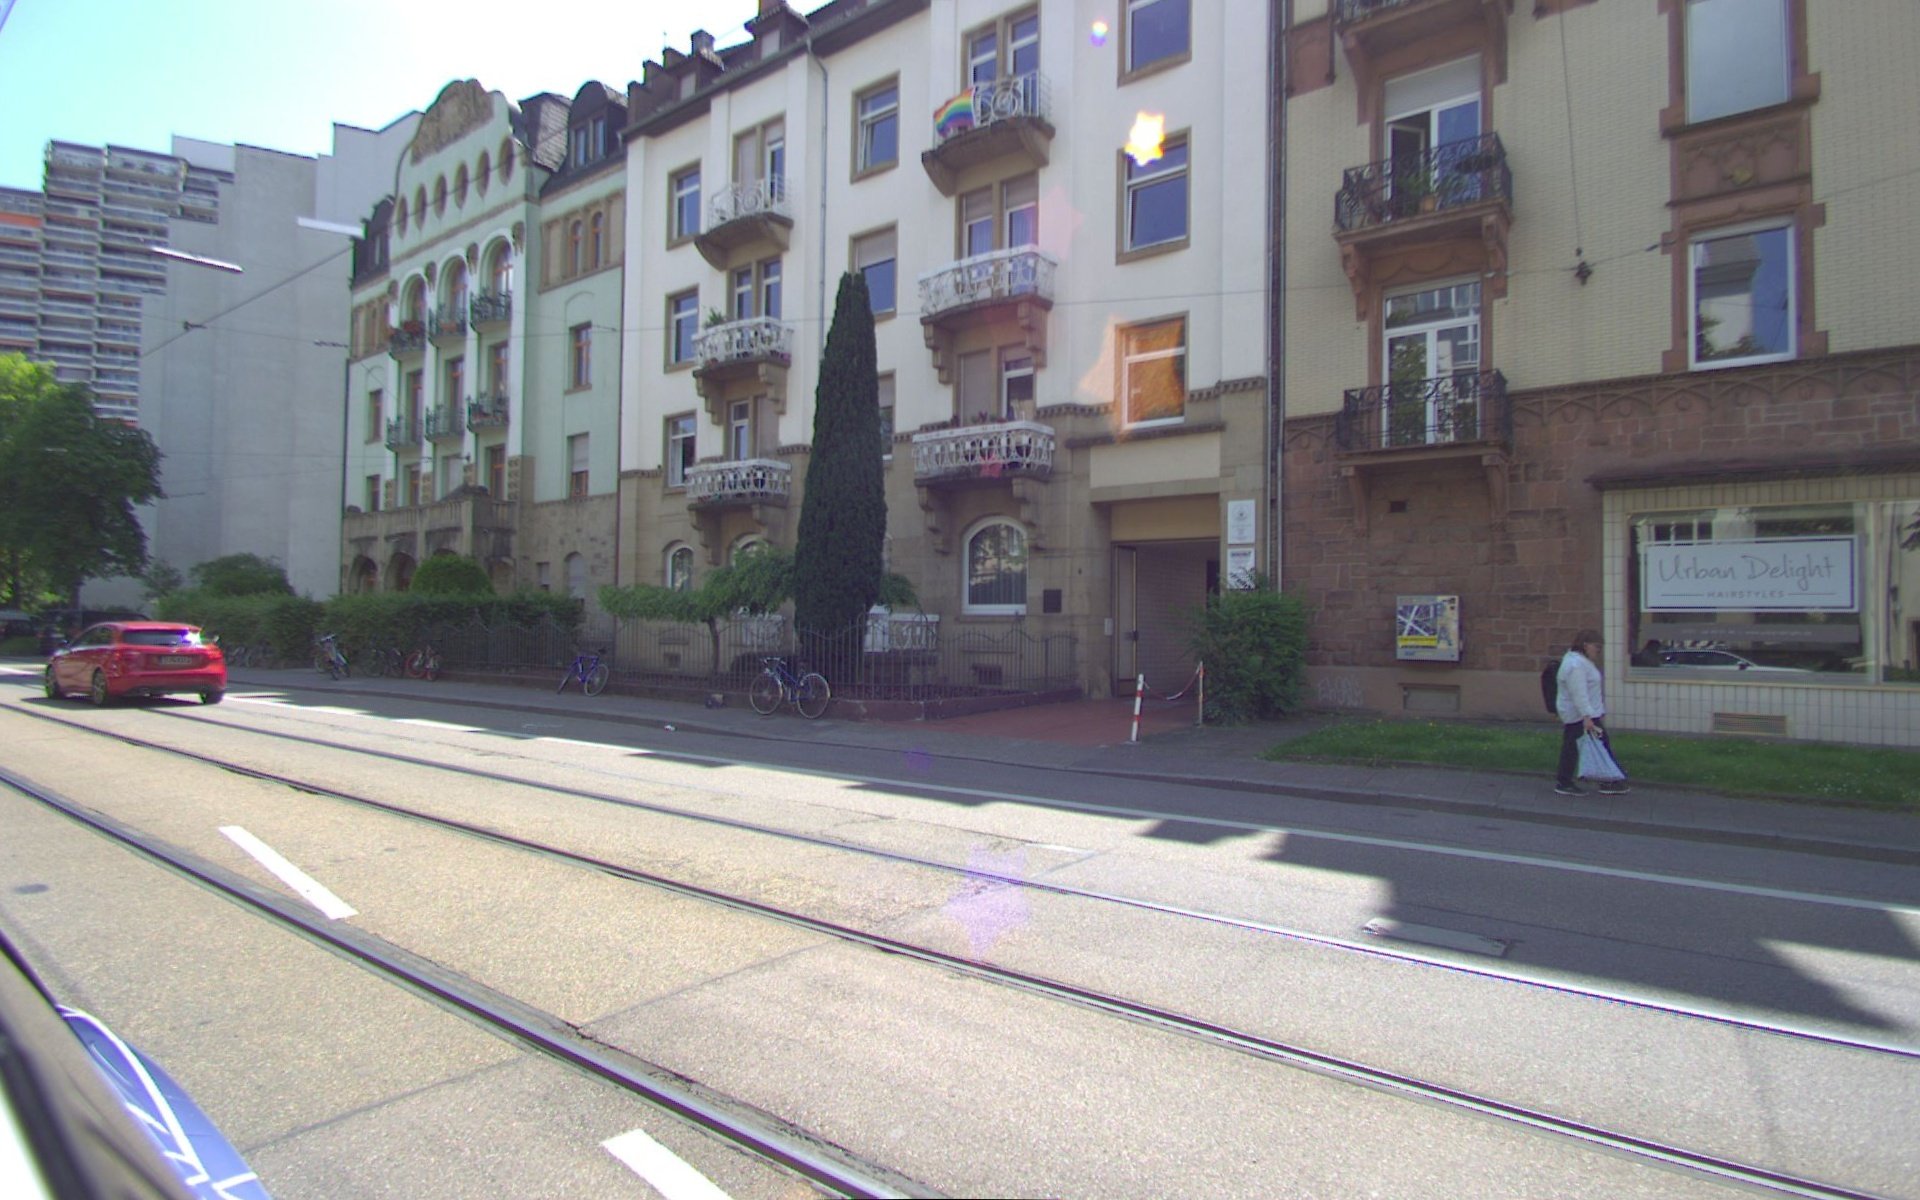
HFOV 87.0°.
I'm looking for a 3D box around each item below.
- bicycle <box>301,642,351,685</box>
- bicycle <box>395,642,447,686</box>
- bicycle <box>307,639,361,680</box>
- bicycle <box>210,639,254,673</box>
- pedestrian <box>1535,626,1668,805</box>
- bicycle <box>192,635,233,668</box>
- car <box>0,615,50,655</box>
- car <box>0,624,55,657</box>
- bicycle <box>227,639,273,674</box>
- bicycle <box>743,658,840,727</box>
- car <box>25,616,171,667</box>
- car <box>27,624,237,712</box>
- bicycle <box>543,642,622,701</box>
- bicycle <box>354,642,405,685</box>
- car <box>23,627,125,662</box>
[{"bbox_3d":[-15.692,1.562,25.083,0.599,1.007,1.780,1,-2,-17],"label":"bicycle"},{"bbox_3d":[-12.853,1.515,24.103,1.723,0.973,0.409,-1,1,38],"label":"bicycle"},{"bbox_3d":[-16.842,1.584,27.222,1.768,1.040,0.602,-1,1,37],"label":"bicycle"},{"bbox_3d":[-22.867,1.750,31.780,1.705,0.996,0.602,-1,1,37],"label":"bicycle"},{"bbox_3d":[5.959,1.025,9.436,0.981,1.554,0.893,-1,-3,33],"label":"pedestrian"},{"bbox_3d":[-24.361,1.663,32.982,1.705,0.996,0.602,-1,1,37],"label":"bicycle"},{"bbox_3d":[-50.073,1.841,52.808,1.578,2.058,4.055,1,-2,-3],"label":"car"},{"bbox_3d":[-47.505,1.978,50.452,1.657,1.587,3.688,2,-2,-5],"label":"car"},{"bbox_3d":[-21.478,1.701,30.589,1.768,0.983,0.602,-1,1,37],"label":"bicycle"},{"bbox_3d":[-2.736,1.463,16.321,1.838,0.968,0.406,0,1,38],"label":"bicycle"},{"bbox_3d":[-34.627,1.667,40.857,1.935,1.940,4.585,1,-2,0],"label":"car"},{"bbox_3d":[-15.101,1.186,18.385,4.419,1.424,1.806,-1,-4,36],"label":"car"},{"bbox_3d":[-7.483,1.397,20.028,1.768,1.073,0.602,-1,1,37],"label":"bicycle"},{"bbox_3d":[-14.411,1.554,25.091,1.705,1.007,0.460,-1,1,38],"label":"bicycle"},{"bbox_3d":[-39.530,1.973,45.266,1.699,1.465,3.634,1,-2,-9],"label":"car"}]
